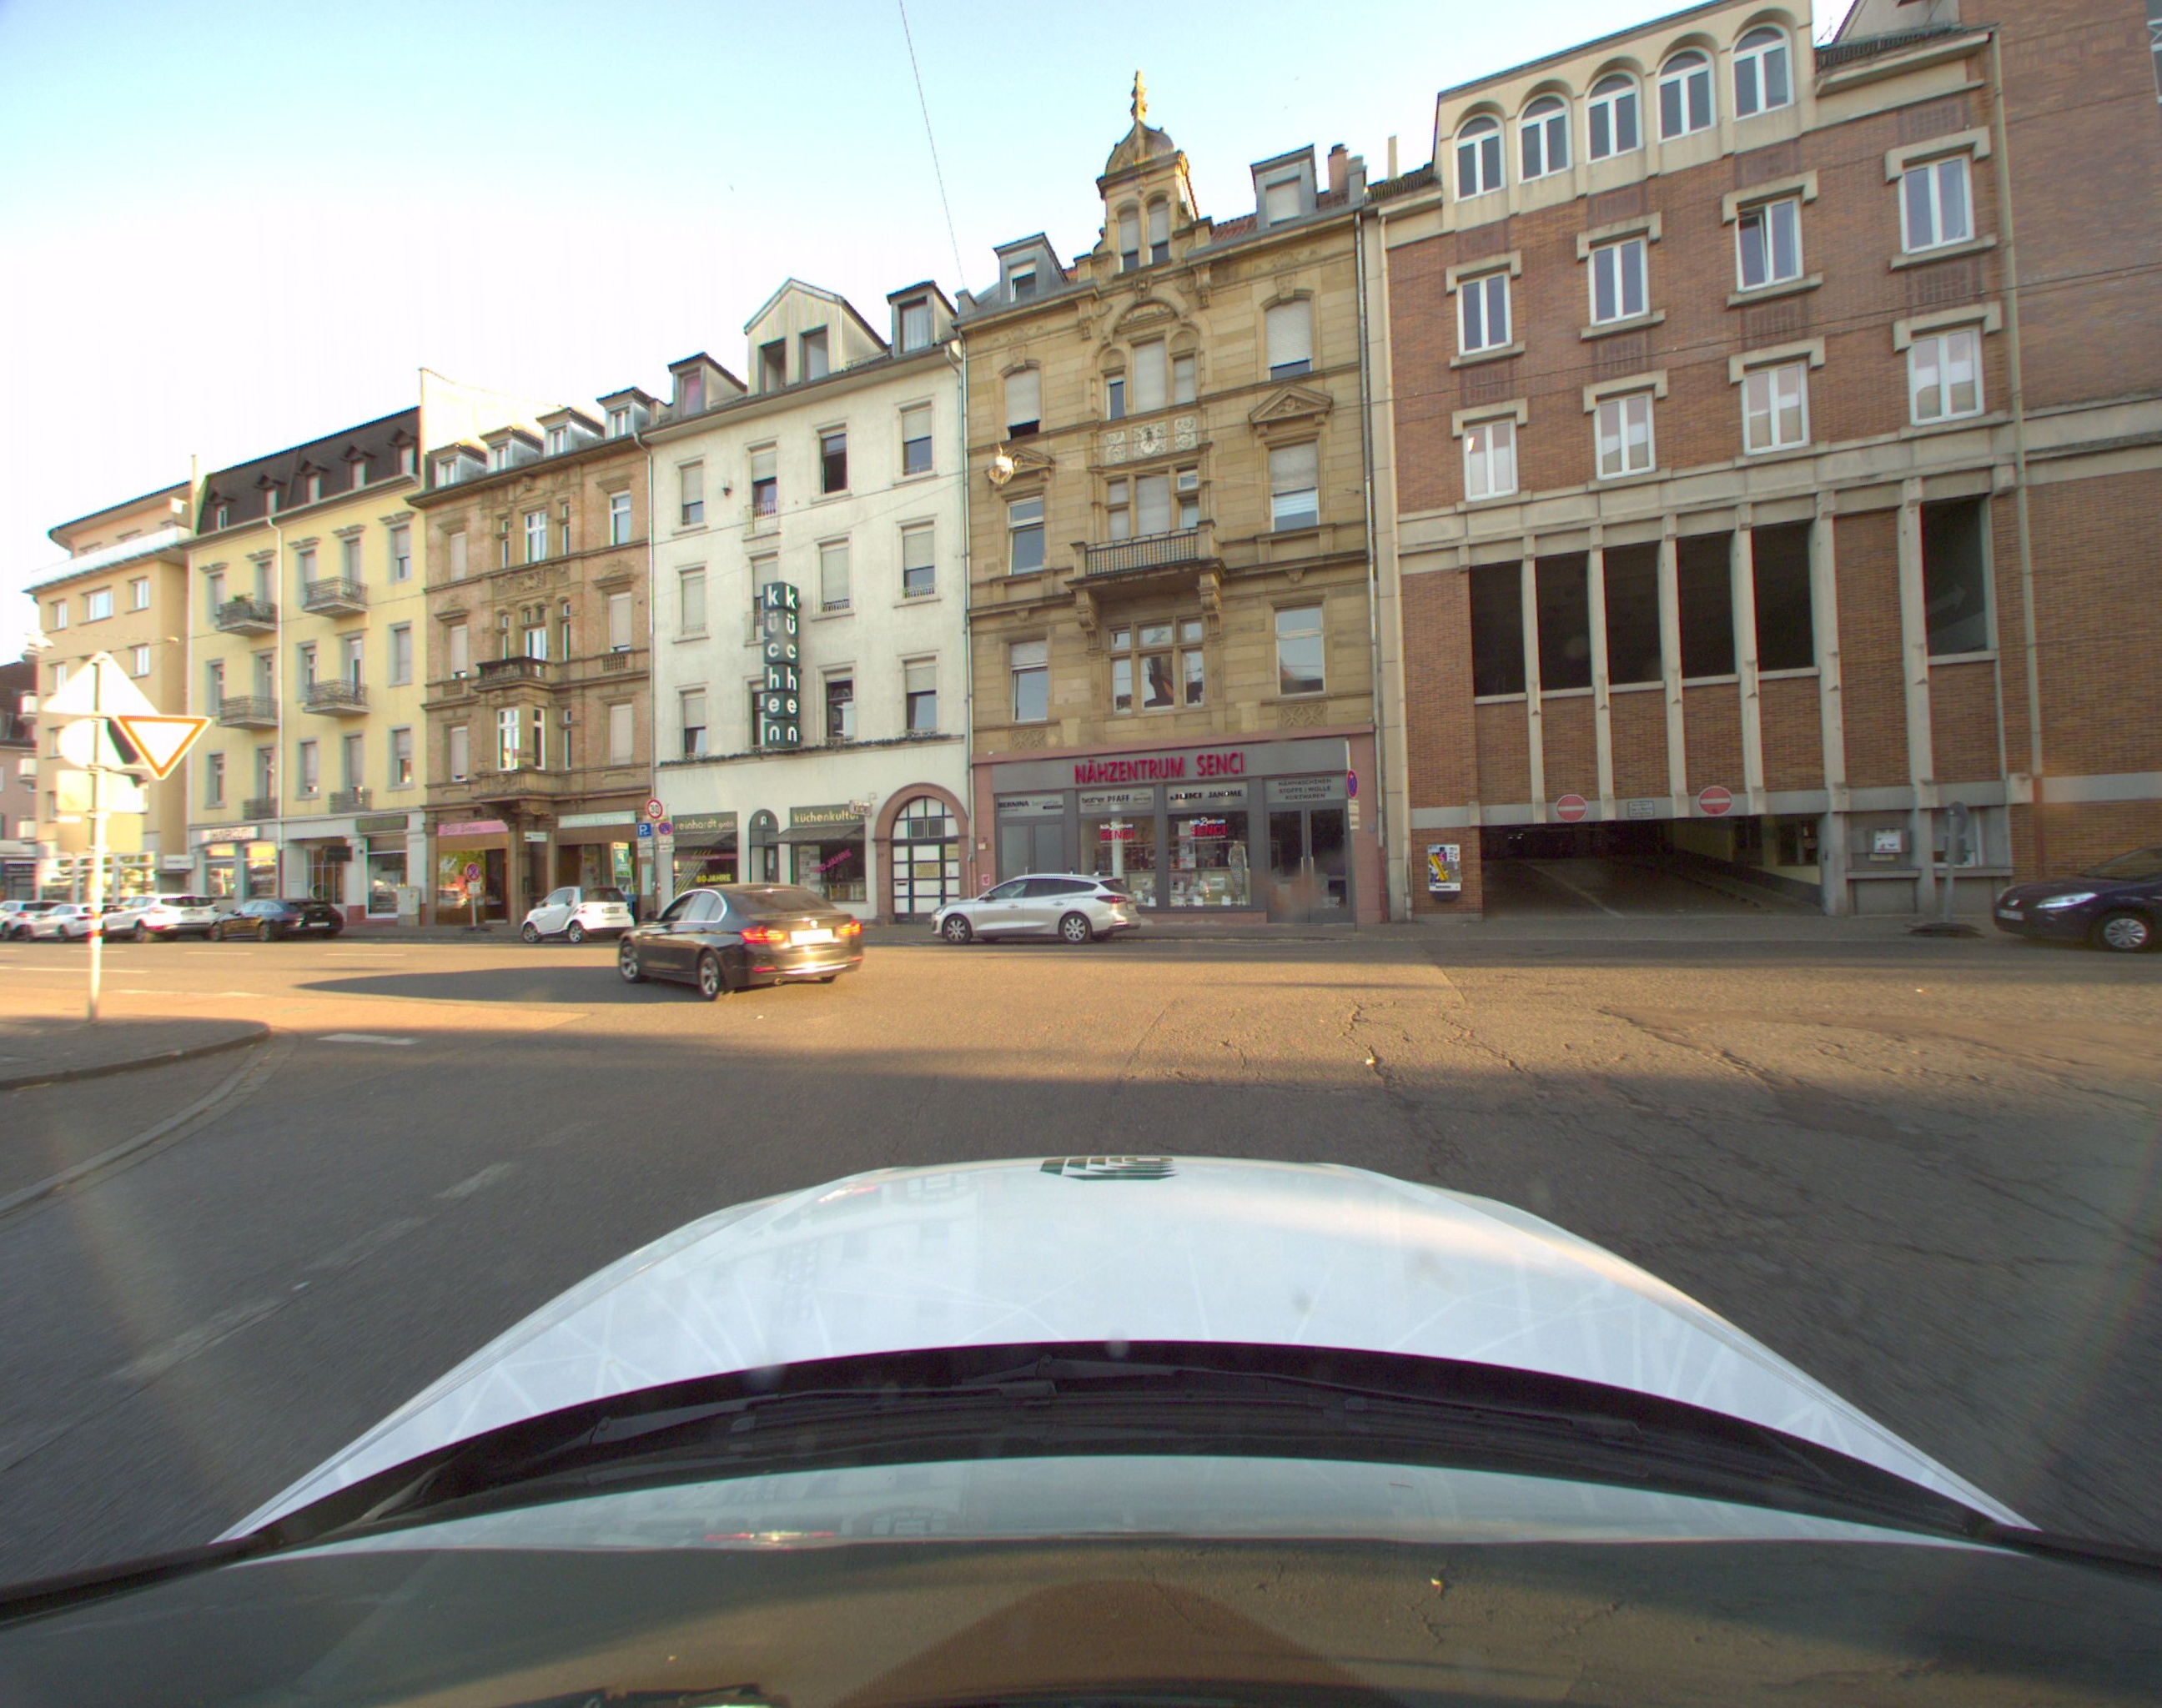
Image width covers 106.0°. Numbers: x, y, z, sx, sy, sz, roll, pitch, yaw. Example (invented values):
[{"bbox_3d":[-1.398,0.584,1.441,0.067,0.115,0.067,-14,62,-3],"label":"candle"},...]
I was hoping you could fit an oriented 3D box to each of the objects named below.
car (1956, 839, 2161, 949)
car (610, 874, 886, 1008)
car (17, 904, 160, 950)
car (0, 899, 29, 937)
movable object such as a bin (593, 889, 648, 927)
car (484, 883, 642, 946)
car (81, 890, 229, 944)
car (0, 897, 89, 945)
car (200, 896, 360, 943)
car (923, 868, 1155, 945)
[{"bbox_3d":[16.158,0.539,11.992,3.953,1.520,2.010,-1,-1,21],"label":"car"},{"bbox_3d":[-4.732,1.084,11.286,4.150,1.492,1.906,-3,-3,42],"label":"car"},{"bbox_3d":[-37.960,2.740,31.150,4.811,1.543,2.033,-1,-1,21],"label":"car"},{"bbox_3d":[-48.770,2.860,35.565,4.748,1.613,2.010,-2,-2,19],"label":"car"},{"bbox_3d":[-14.978,1.762,26.501,1.382,1.186,0.873,-2,-2,20],"label":"movable object such as a bin"},{"bbox_3d":[-14.545,1.643,22.894,3.952,1.585,1.714,-1,-1,21],"label":"car"},{"bbox_3d":[-32.913,2.193,28.953,4.604,1.745,1.897,-1,-1,20],"label":"car"},{"bbox_3d":[-43.061,2.692,33.234,4.356,1.762,1.883,-1,-1,20],"label":"car"},{"bbox_3d":[-27.059,2.195,27.534,4.793,1.434,2.010,-2,-2,21],"label":"car"},{"bbox_3d":[-0.898,1.084,17.832,4.628,1.535,2.010,-1,-1,19],"label":"car"}]
